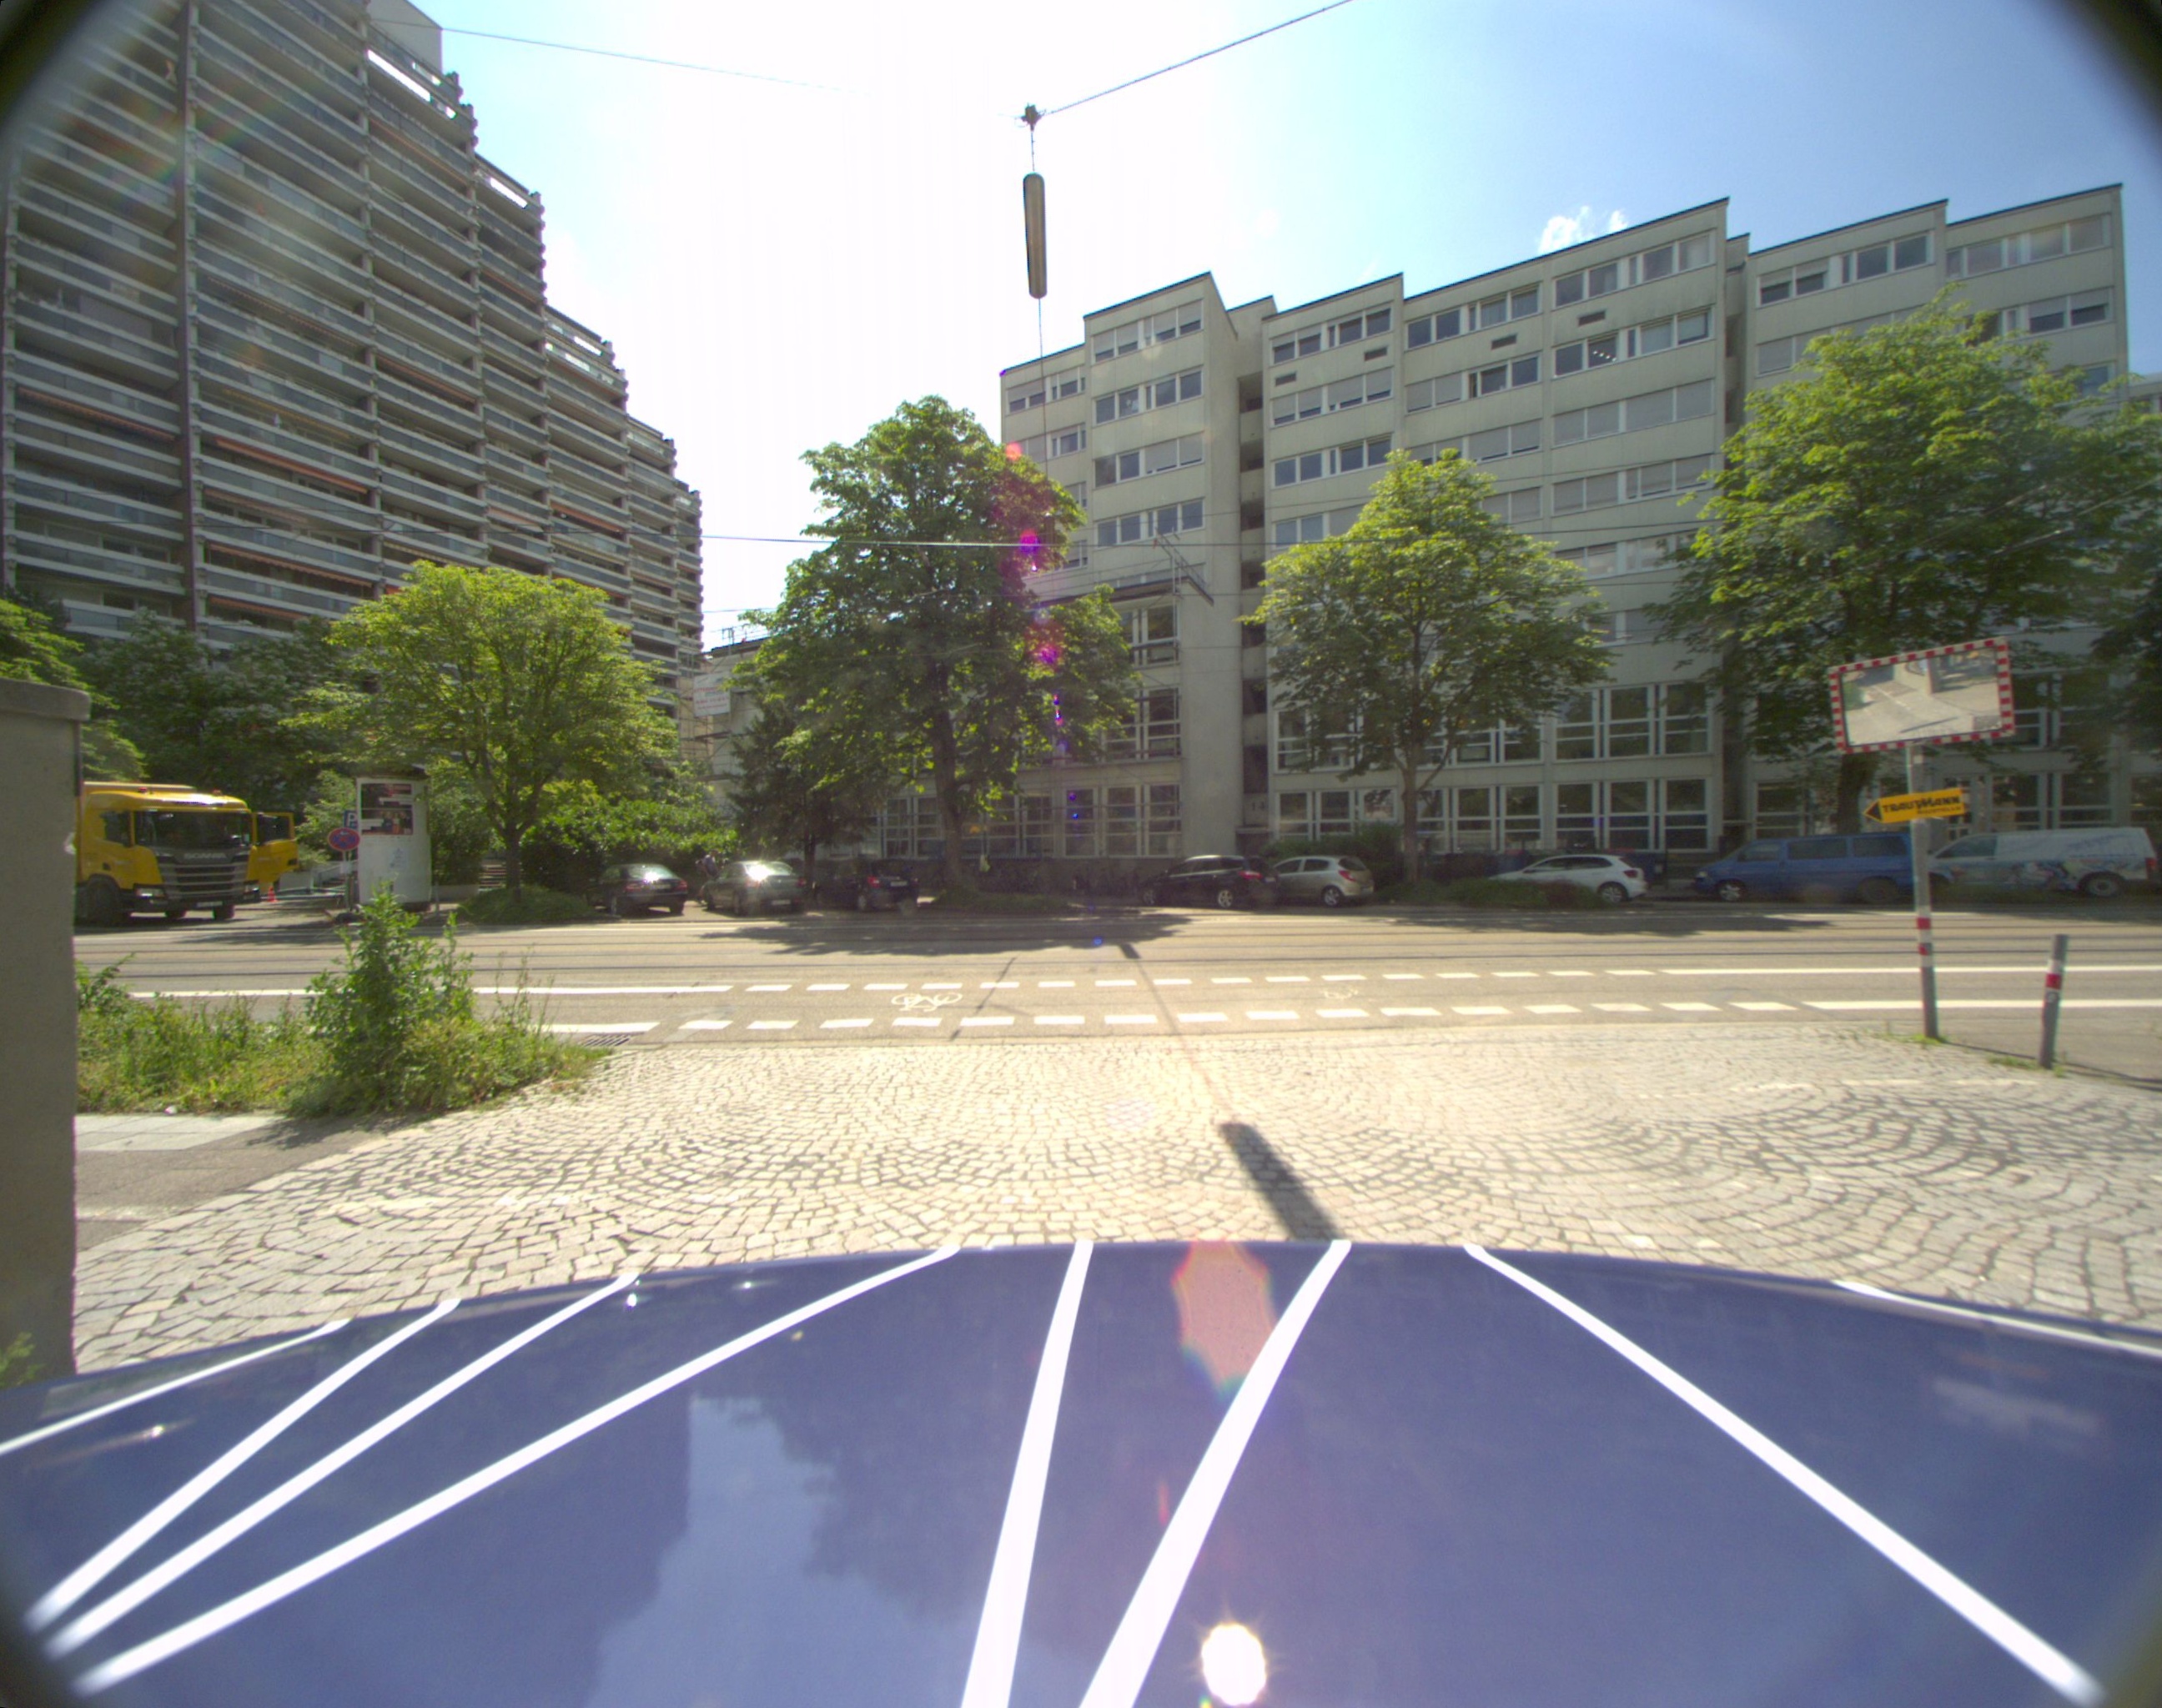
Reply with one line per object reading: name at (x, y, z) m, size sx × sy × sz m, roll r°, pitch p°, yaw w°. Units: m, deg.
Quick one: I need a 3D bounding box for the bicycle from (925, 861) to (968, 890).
bicycle at (-5.342, 0.842, 30.307) m, size 0.567 × 1.124 × 1.931 m, roll -1°, pitch 0°, yaw 28°

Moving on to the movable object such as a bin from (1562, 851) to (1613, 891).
movable object such as a bin at (18.129, 0.591, 27.226) m, size 1.180 × 1.390 × 1.038 m, roll -1°, pitch 0°, yaw 8°

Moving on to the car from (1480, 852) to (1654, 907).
car at (13.887, 0.684, 21.844) m, size 3.970 × 1.405 × 1.718 m, roll -1°, pitch 0°, yaw 43°

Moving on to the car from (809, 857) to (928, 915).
car at (-6.142, 0.856, 21.783) m, size 3.566 × 1.508 × 1.653 m, roll -1°, pitch 1°, yaw 44°

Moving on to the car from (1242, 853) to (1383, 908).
car at (6.718, 0.734, 22.206) m, size 3.530 × 1.453 × 1.758 m, roll -1°, pitch 0°, yaw 44°

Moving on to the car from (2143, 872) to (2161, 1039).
car at (11.268, 0.837, 5.996) m, size 3.724 × 1.447 × 1.589 m, roll -1°, pitch -2°, yaw -4°

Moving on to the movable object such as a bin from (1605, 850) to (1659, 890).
movable object such as a bin at (19.657, 0.568, 27.136) m, size 1.180 × 1.390 × 1.038 m, roll -1°, pitch 0°, yaw 8°

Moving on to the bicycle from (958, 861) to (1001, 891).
bicycle at (-3.948, 0.844, 29.647) m, size 0.567 × 1.124 × 1.931 m, roll 0°, pitch 0°, yaw 31°

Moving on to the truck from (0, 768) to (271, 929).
truck at (-28.061, -0.093, 21.559) m, size 9.725 × 3.983 × 2.754 m, roll -1°, pitch 1°, yaw 16°

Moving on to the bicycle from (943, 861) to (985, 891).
bicycle at (-4.606, 0.839, 30.047) m, size 0.567 × 1.124 × 1.931 m, roll -1°, pitch 0°, yaw 28°

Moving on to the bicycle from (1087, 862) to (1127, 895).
bicycle at (0.956, 0.859, 27.633) m, size 0.567 × 1.124 × 1.947 m, roll 0°, pitch 0°, yaw 31°

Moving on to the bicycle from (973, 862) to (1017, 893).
bicycle at (-3.296, 0.874, 29.284) m, size 0.567 × 1.124 × 1.947 m, roll 0°, pitch 0°, yaw 31°

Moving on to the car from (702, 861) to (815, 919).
car at (-9.233, 0.948, 21.589) m, size 1.823 × 1.454 × 4.011 m, roll -1°, pitch 1°, yaw -40°

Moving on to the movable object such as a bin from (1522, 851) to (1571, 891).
movable object such as a bin at (16.714, 0.613, 27.304) m, size 1.180 × 1.390 × 1.038 m, roll -1°, pitch 0°, yaw 8°

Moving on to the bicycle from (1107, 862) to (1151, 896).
bicycle at (1.756, 0.881, 27.370) m, size 0.567 × 1.124 × 2.239 m, roll -1°, pitch 0°, yaw 31°

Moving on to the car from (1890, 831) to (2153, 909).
car at (26.700, 0.415, 21.799) m, size 2.004 × 2.002 × 4.618 m, roll -1°, pitch 0°, yaw -38°

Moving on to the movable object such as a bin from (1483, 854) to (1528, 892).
movable object such as a bin at (15.181, 0.669, 27.194) m, size 1.076 × 1.322 × 0.971 m, roll -1°, pitch 0°, yaw 2°

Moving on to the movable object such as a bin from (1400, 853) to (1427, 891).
movable object such as a bin at (12.462, 0.685, 28.490) m, size 0.802 × 1.397 × 0.768 m, roll -1°, pitch 0°, yaw 14°

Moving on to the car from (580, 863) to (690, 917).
car at (-12.754, 0.952, 21.618) m, size 4.011 × 1.365 × 1.633 m, roll -1°, pitch 1°, yaw 43°

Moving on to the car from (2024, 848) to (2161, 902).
car at (30.229, 0.584, 21.710) m, size 1.674 × 1.477 × 3.990 m, roll -1°, pitch 0°, yaw -34°

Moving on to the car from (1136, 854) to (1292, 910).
car at (3.787, 0.749, 22.088) m, size 4.185 × 1.461 × 1.758 m, roll -1°, pitch 1°, yaw 44°

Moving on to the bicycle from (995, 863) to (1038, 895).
bicycle at (-2.429, 0.931, 28.812) m, size 0.567 × 1.124 × 1.947 m, roll 0°, pitch 0°, yaw 31°

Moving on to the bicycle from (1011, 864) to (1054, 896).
bicycle at (-1.788, 0.947, 28.380) m, size 0.567 × 1.124 × 1.947 m, roll 0°, pitch 0°, yaw 31°

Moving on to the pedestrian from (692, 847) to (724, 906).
pedestrian at (-11.997, 0.719, 24.426) m, size 0.576 × 1.864 × 0.716 m, roll -1°, pitch 0°, yaw 14°

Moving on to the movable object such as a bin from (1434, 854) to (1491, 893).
movable object such as a bin at (13.607, 0.692, 27.139) m, size 1.451 × 1.322 × 1.126 m, roll -1°, pitch 0°, yaw 2°

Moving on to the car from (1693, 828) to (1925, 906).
car at (20.549, 0.350, 21.679) m, size 4.617 × 2.002 × 2.004 m, roll -1°, pitch 0°, yaw 45°

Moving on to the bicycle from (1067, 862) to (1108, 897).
bicycle at (0.245, 0.909, 28.022) m, size 0.567 × 1.230 × 1.947 m, roll 0°, pitch 0°, yaw 31°
